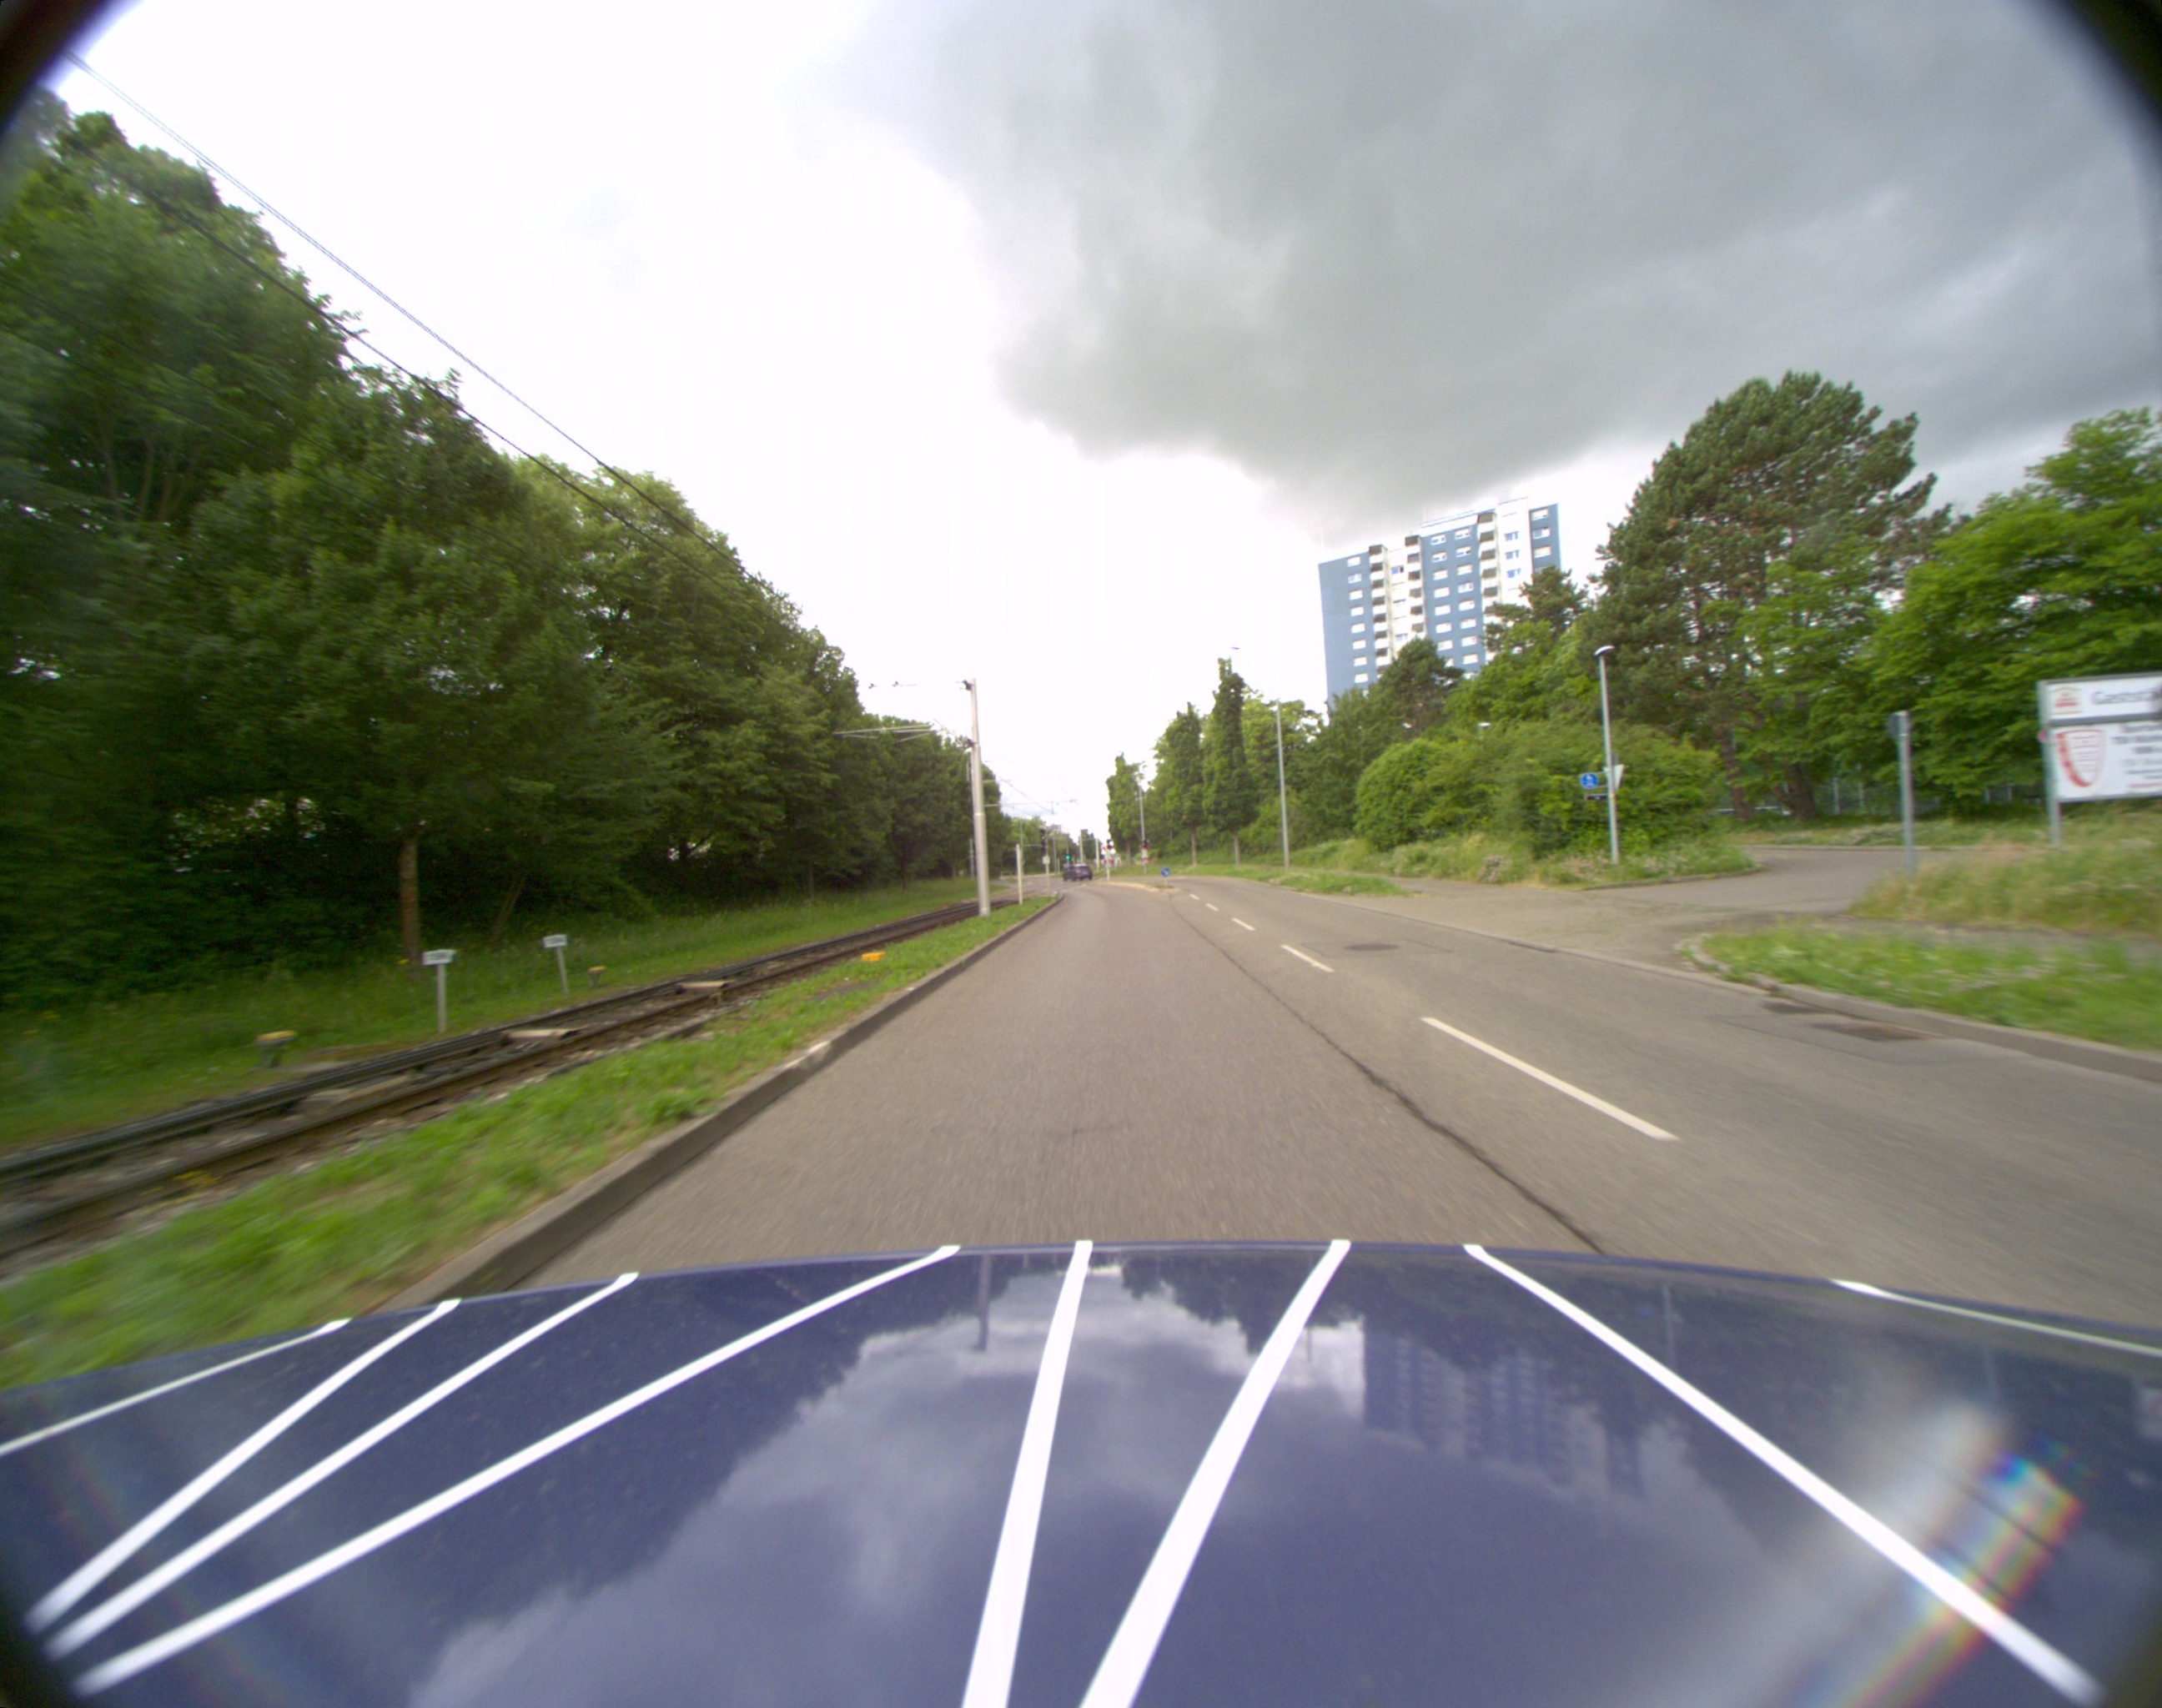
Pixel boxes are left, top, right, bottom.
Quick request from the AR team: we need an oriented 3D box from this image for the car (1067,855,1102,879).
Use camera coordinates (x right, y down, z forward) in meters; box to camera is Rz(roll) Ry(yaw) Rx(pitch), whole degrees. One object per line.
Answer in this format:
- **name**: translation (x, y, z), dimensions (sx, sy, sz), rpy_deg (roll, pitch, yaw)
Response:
- **car**: translation (0.264, 1.124, 66.025), dimensions (1.606, 2.002, 3.993), rpy_deg (-3, 0, -22)

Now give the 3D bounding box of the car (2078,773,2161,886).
- **car**: translation (15.393, -0.433, 9.116), dimensions (3.996, 1.409, 2.000), rpy_deg (-4, 0, 3)
